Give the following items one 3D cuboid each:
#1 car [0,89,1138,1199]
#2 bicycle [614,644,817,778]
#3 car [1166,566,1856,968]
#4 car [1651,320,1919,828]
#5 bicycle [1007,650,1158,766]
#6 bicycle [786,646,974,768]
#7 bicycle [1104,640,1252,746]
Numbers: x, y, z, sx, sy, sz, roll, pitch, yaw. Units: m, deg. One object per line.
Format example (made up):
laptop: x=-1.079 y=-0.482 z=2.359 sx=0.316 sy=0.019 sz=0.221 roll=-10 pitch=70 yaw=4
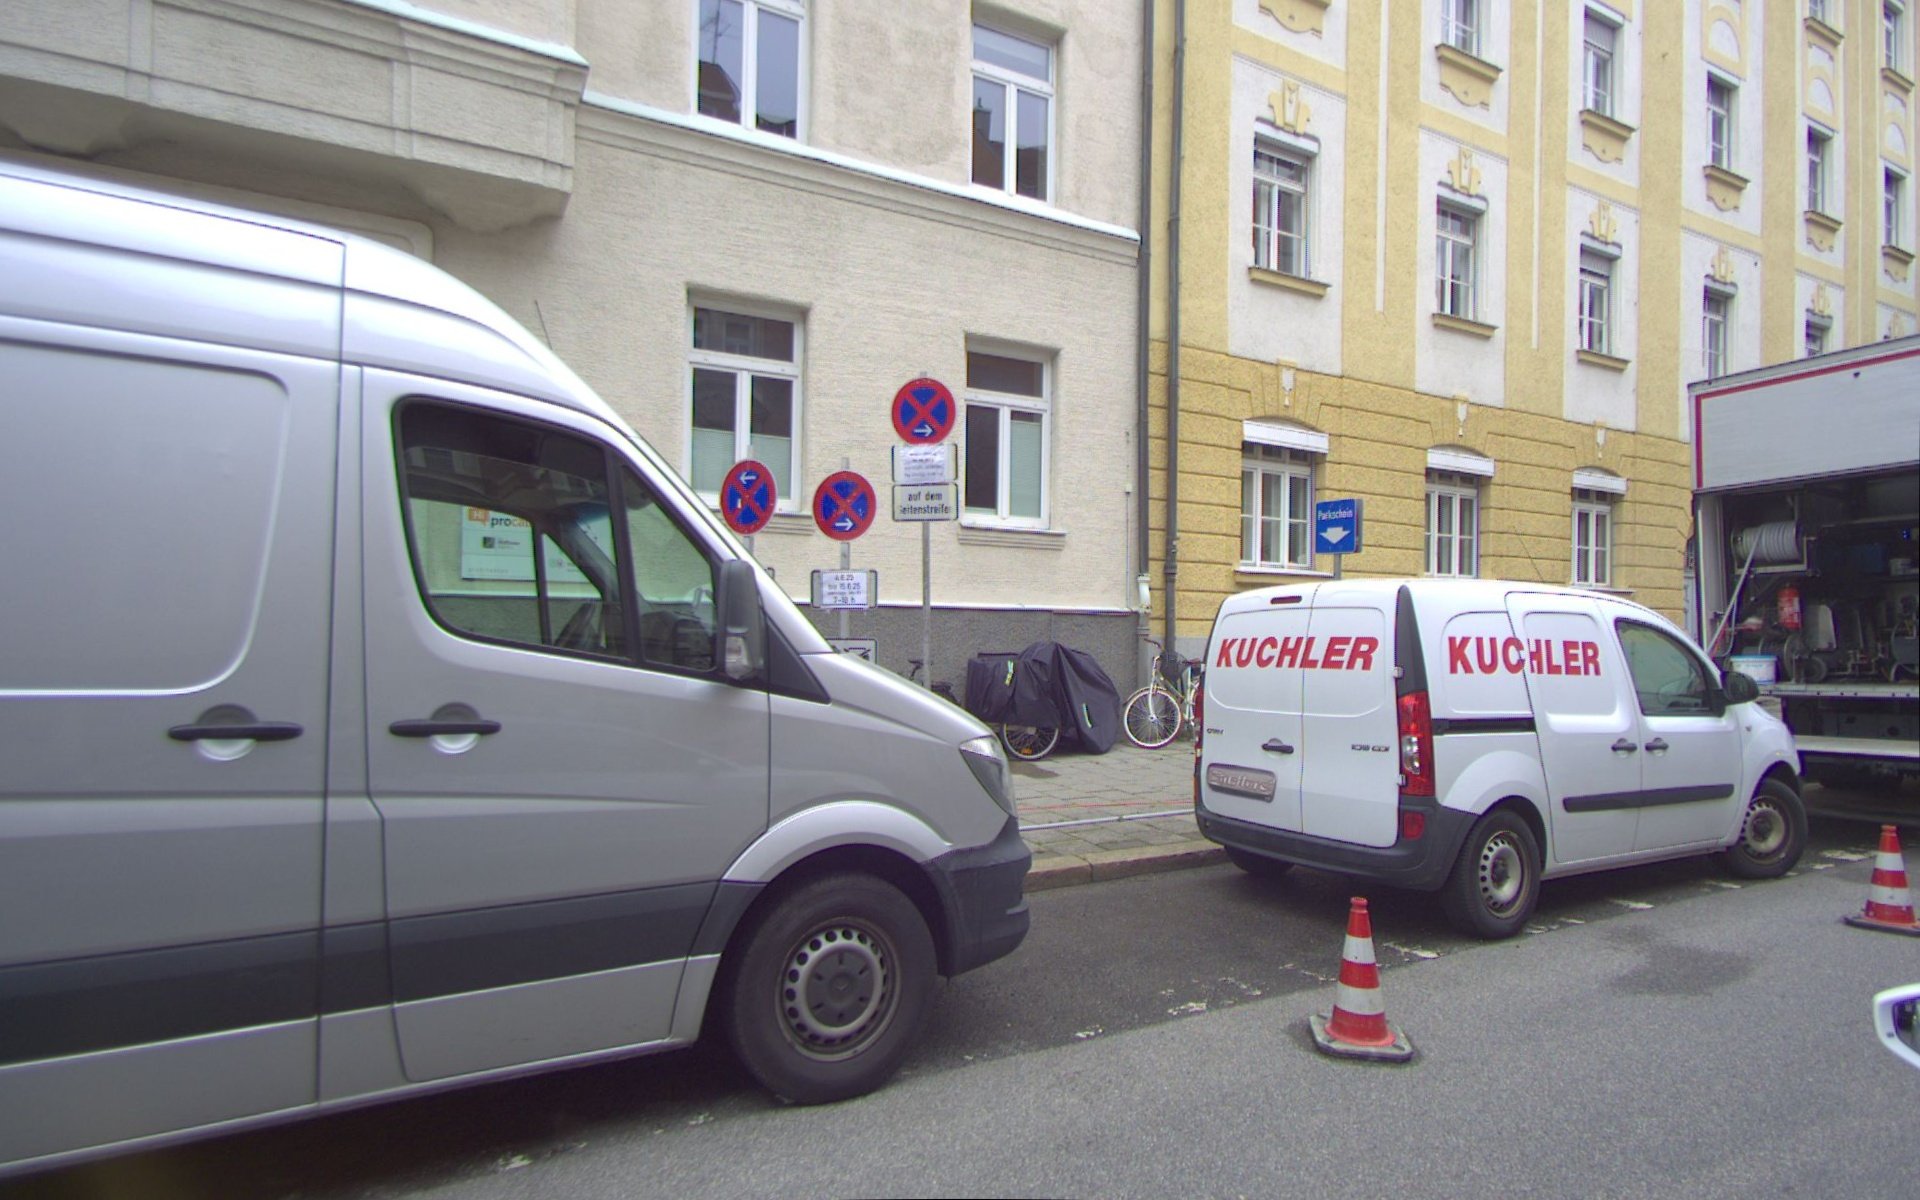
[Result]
car: x=-2.857 y=0.293 z=2.749 sx=6.794 sy=2.620 sz=2.048 roll=1 pitch=-5 yaw=-30
bicycle: x=-2.182 y=0.970 z=9.062 sx=1.715 sy=1.119 sz=0.426 roll=2 pitch=-1 yaw=-29
car: x=3.535 y=0.837 z=6.322 sx=4.272 sy=1.802 sz=1.756 roll=1 pitch=-3 yaw=-28
car: x=10.820 y=-0.082 z=10.215 sx=8.618 sy=3.868 sz=2.800 roll=2 pitch=-2 yaw=-30
bicycle: x=1.319 y=1.089 z=10.545 sx=1.848 sy=1.119 sz=0.397 roll=2 pitch=-1 yaw=-39
bicycle: x=-0.763 y=1.026 z=9.948 sx=1.842 sy=1.119 sz=0.399 roll=2 pitch=-1 yaw=-30
bicycle: x=2.539 y=1.053 z=11.621 sx=1.745 sy=1.119 sz=0.504 roll=2 pitch=1 yaw=-30
